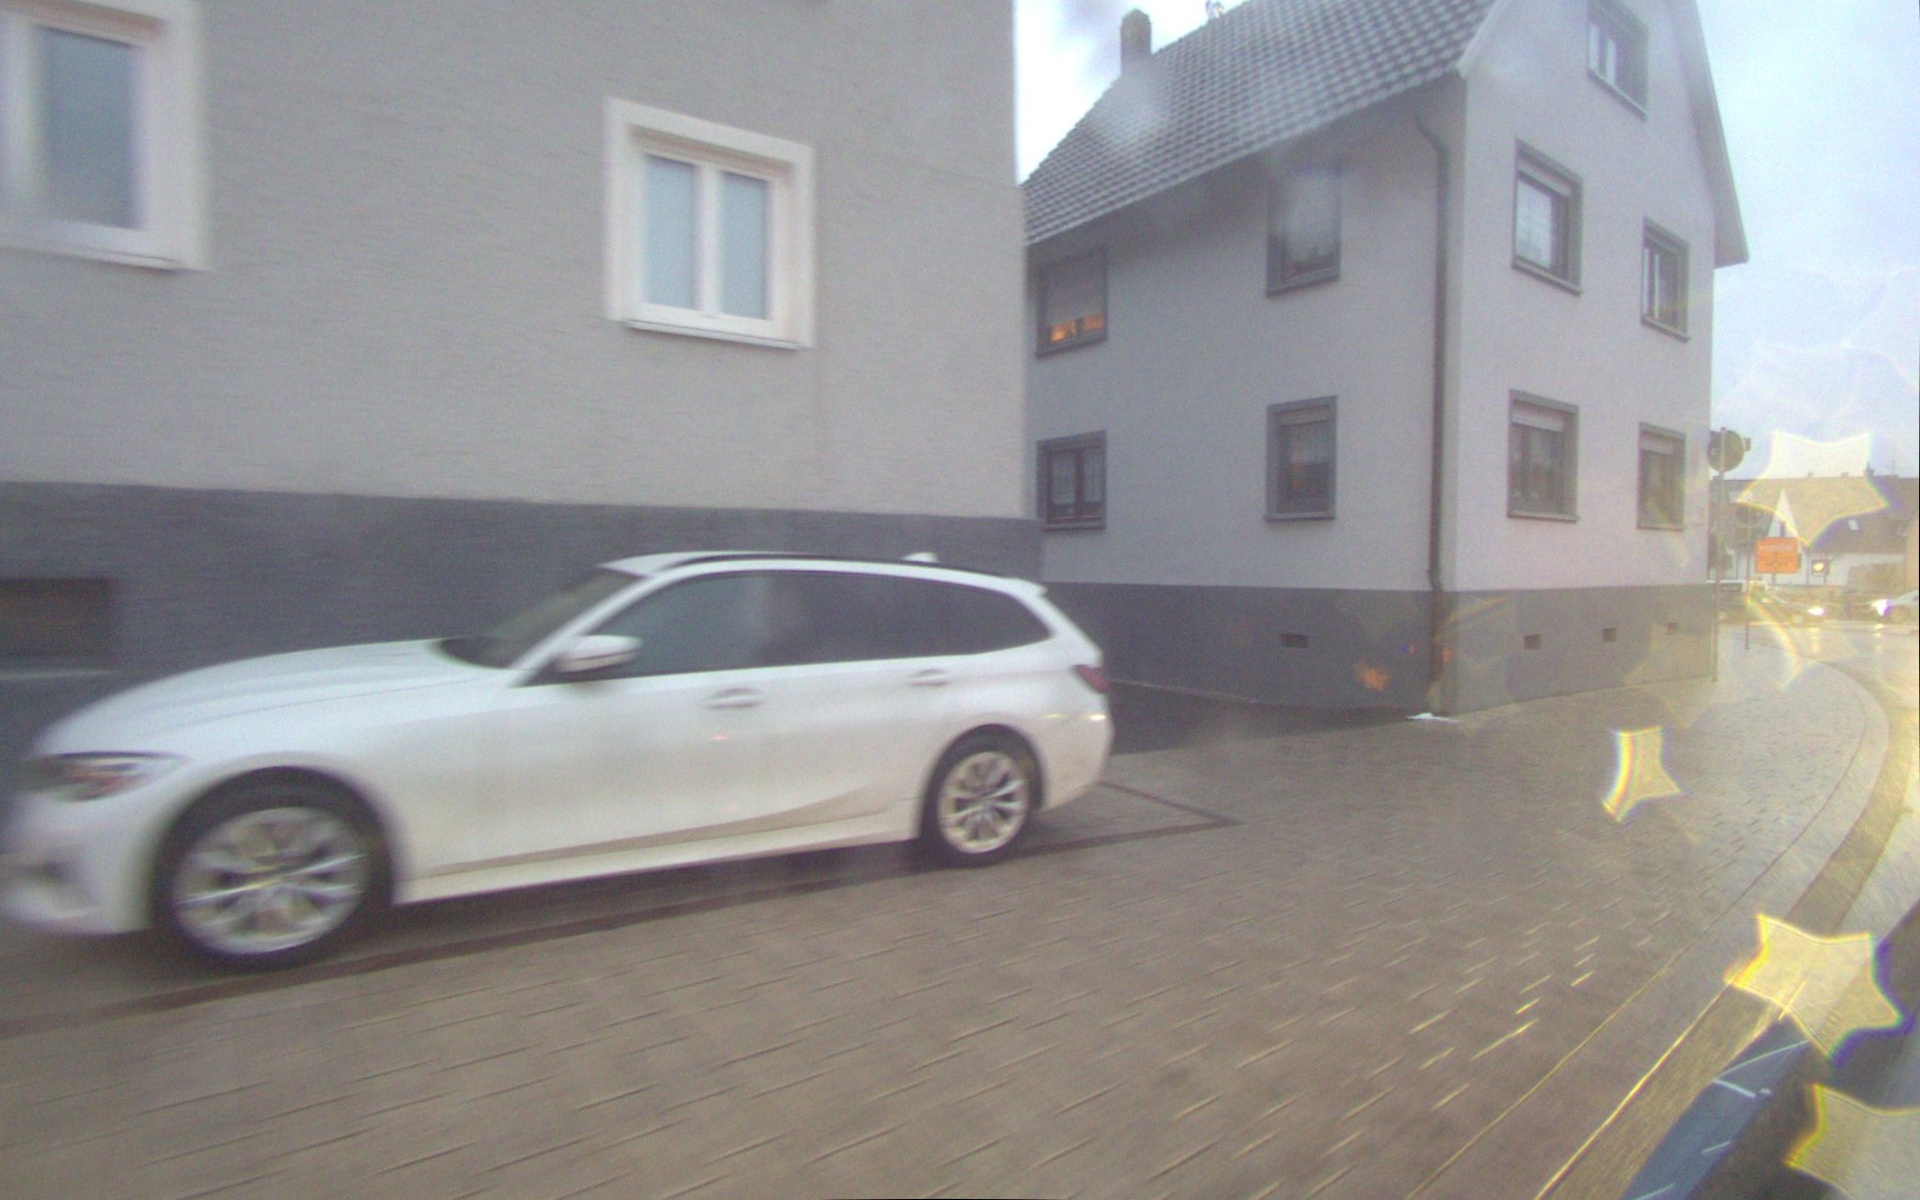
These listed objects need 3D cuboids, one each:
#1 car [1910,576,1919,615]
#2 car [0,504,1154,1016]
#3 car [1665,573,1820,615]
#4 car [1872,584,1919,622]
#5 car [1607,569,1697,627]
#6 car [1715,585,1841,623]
[{"bbox_3d":[42.361,-0.130,41.496,4.393,1.652,2.142,1,2,20],"label":"car"},{"bbox_3d":[-1.411,0.425,4.855,4.452,1.484,1.892,0,3,-31],"label":"car"},{"bbox_3d":[38.573,-0.282,50.099,1.950,1.970,5.788,0,0,-27],"label":"car"},{"bbox_3d":[44.083,0.228,45.063,4.728,1.656,1.980,3,1,29],"label":"car"},{"bbox_3d":[25.805,-0.116,37.905,1.959,1.984,4.810,1,1,25],"label":"car"},{"bbox_3d":[35.942,0.129,44.549,1.858,1.524,4.106,-1,2,-42],"label":"car"}]
